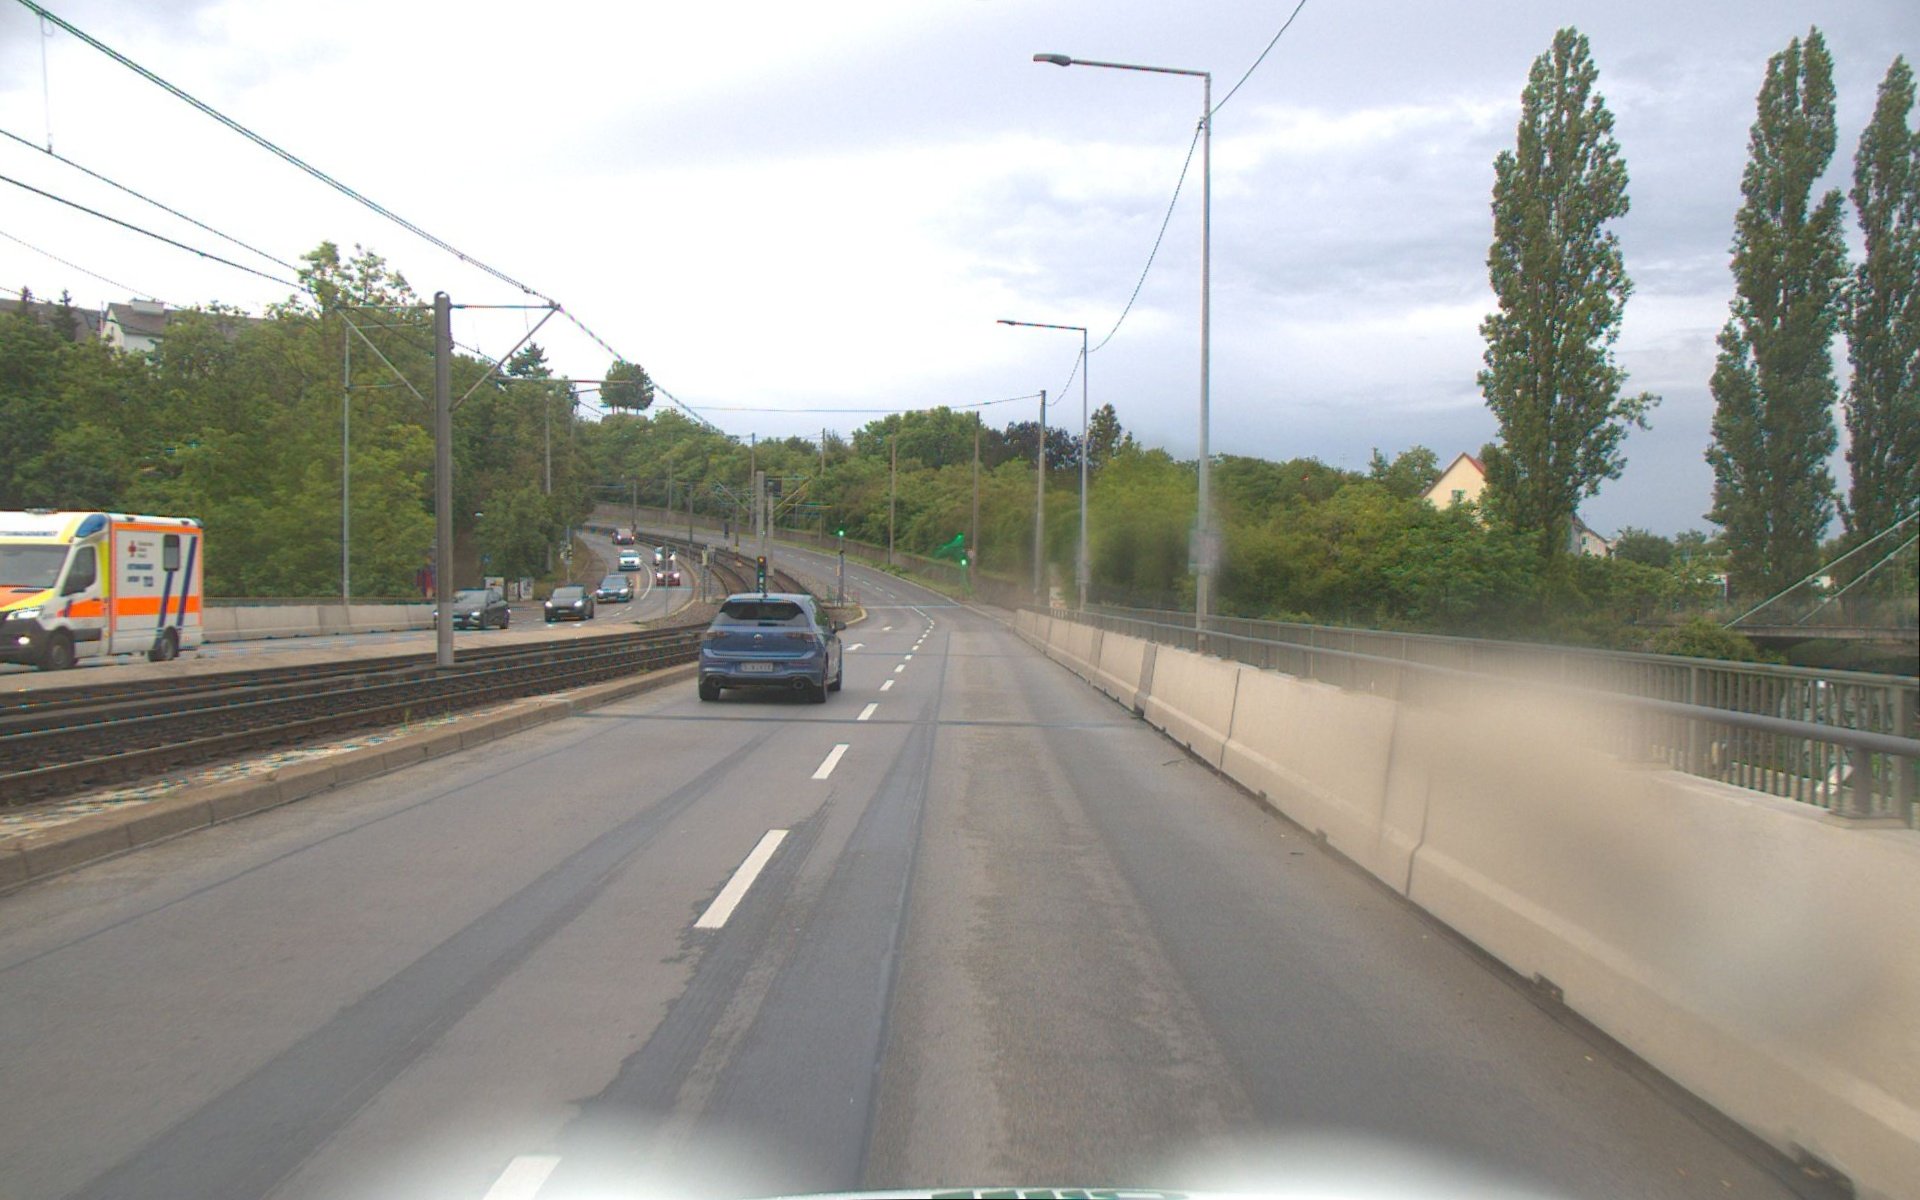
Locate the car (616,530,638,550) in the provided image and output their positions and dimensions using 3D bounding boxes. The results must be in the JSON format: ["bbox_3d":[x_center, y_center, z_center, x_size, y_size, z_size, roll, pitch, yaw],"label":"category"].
[{"bbox_3d":[-35.058,-6.296,174.066,1.818,1.623,4.716,-1,7,-16],"label":"car"}]

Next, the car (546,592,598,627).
[{"bbox_3d":[-18.962,0.434,81.003,1.859,1.625,4.727,-1,1,-5],"label":"car"}]

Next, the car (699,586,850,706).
[{"bbox_3d":[-2.563,0.615,23.689,1.727,1.527,3.999,2,0,-1],"label":"car"}]

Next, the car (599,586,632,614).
[{"bbox_3d":[-20.969,0.003,100.621,1.935,1.625,5.168,0,-1,-12],"label":"car"}]

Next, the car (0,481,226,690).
[{"bbox_3d":[-15.216,-0.233,28.410,2.341,3.170,6.356,1,0,0],"label":"car"}]

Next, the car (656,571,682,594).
[{"bbox_3d":[-20.327,-1.229,115.544,1.574,1.519,3.007,-1,2,-14],"label":"car"}]

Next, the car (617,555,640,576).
[{"bbox_3d":[-26.658,-2.774,133.154,1.789,1.541,4.516,0,0,-11],"label":"car"}]

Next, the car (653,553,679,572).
[{"bbox_3d":[-24.795,-3.115,139.379,1.702,1.462,4.470,0,-1,-17],"label":"car"}]

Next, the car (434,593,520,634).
[{"bbox_3d":[-18.106,0.470,62.183,1.779,1.461,4.741,1,0,1],"label":"car"}]
